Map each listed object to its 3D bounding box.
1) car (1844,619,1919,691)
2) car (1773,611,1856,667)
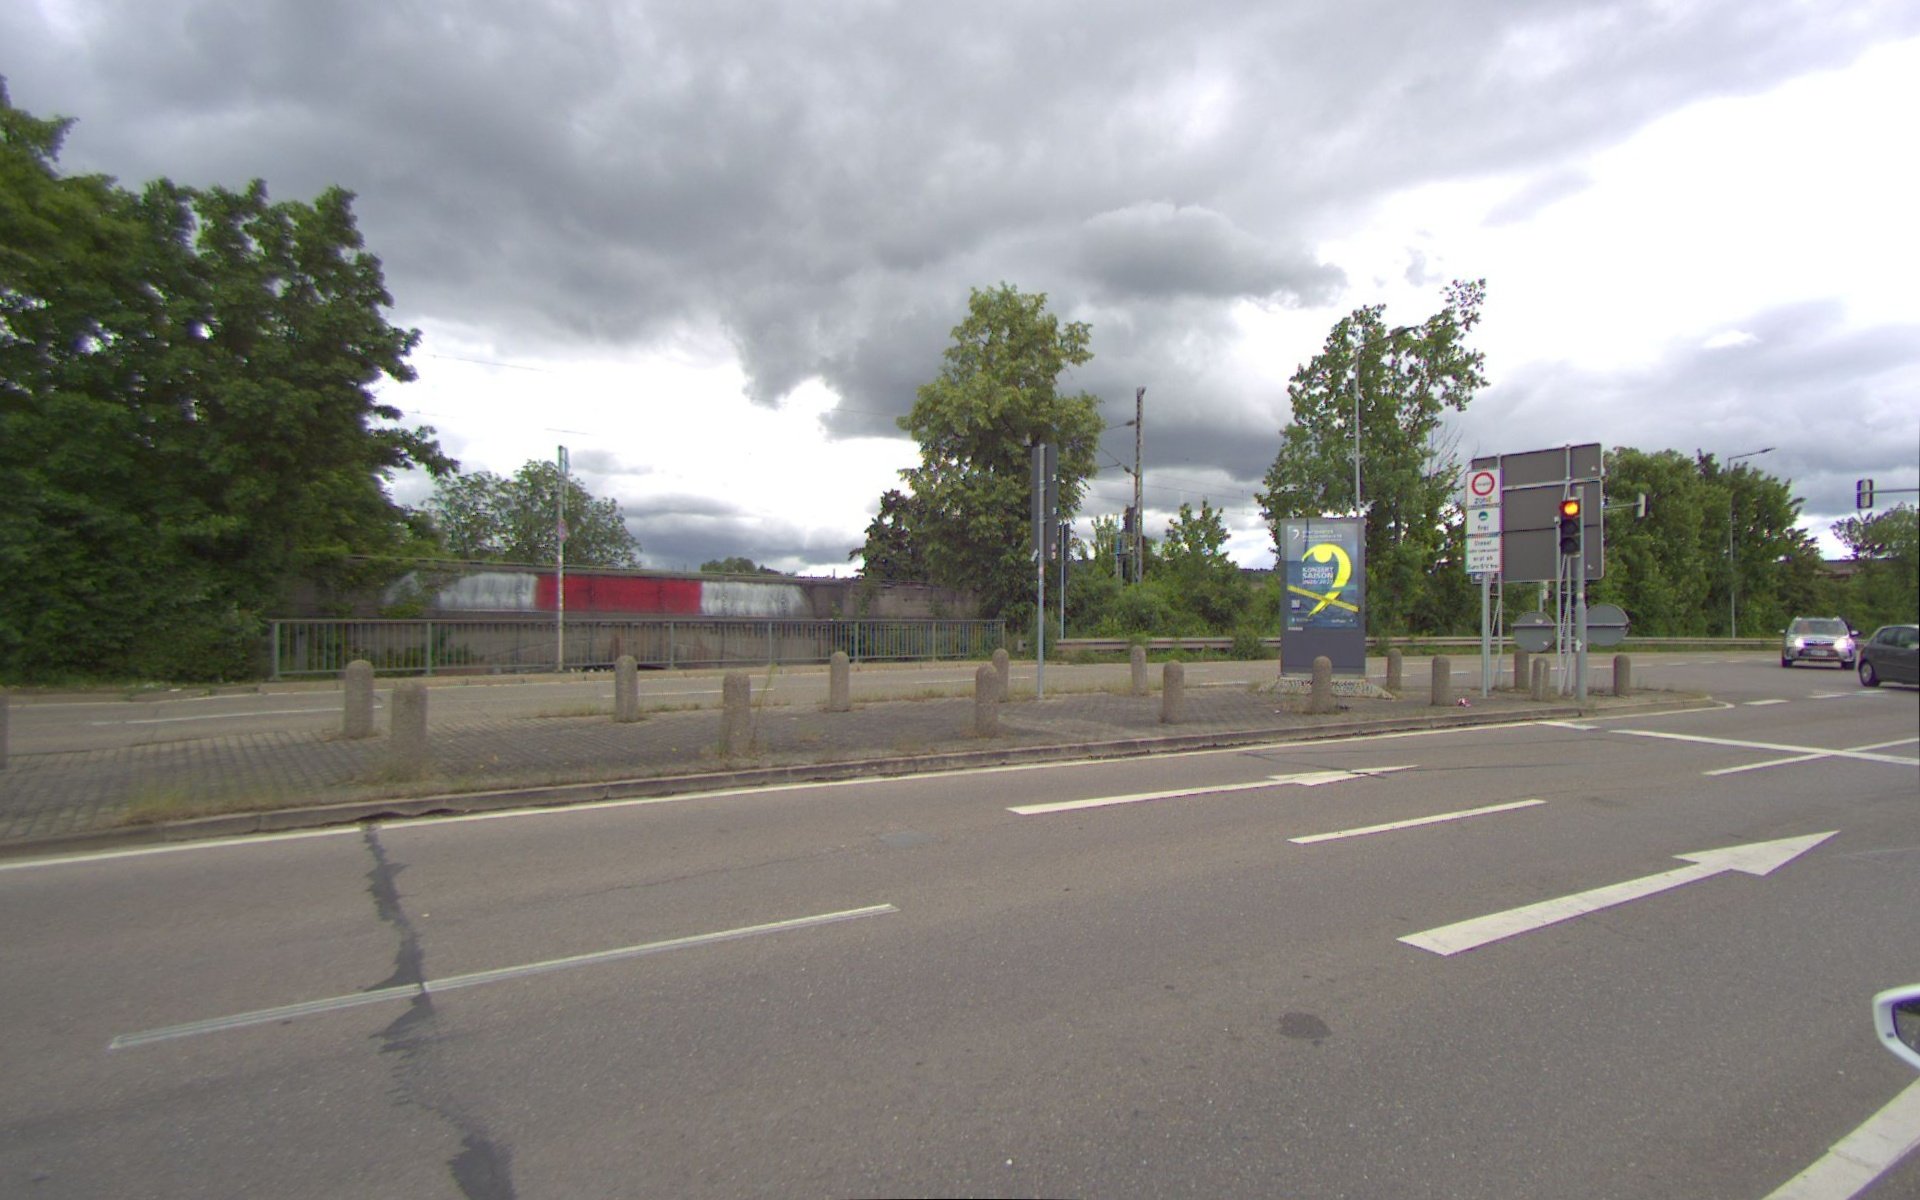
[{"bbox_3d":[21.484,1.207,21.946,1.695,1.481,4.244,1,0,19],"label":"car"},{"bbox_3d":[28.640,1.264,33.620,4.525,1.760,1.707,1,-2,-44],"label":"car"}]
